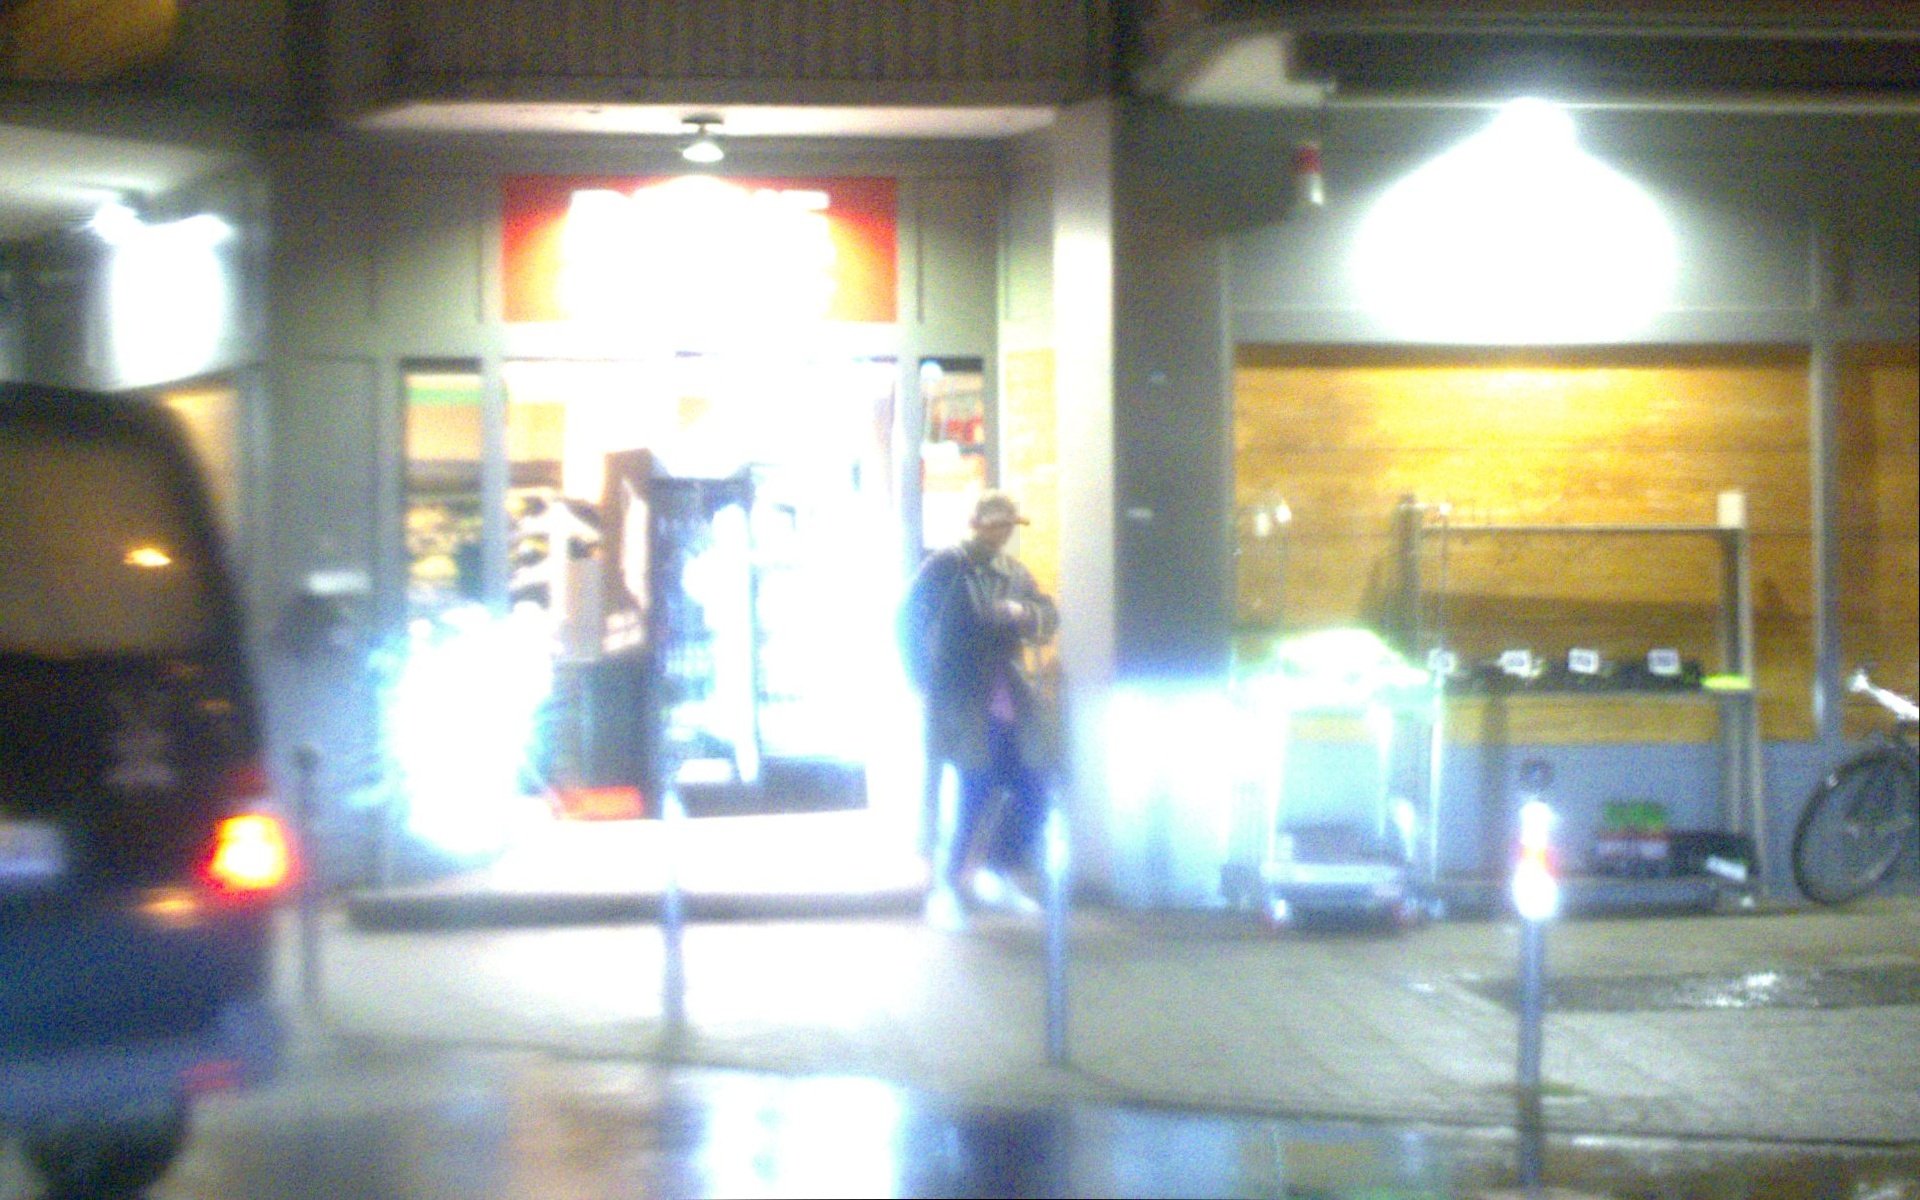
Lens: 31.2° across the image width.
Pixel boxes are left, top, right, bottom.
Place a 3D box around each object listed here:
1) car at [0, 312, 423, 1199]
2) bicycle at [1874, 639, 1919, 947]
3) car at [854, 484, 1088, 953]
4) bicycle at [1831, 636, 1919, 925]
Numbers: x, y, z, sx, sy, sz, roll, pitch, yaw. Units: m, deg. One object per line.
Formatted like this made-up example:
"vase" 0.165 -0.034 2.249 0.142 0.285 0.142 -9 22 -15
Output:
"car" -3.500 0.410 8.656 2.123 1.985 4.599 1 0 -41
"bicycle" 4.483 0.740 13.329 1.781 1.170 0.384 0 0 -2
"car" 0.028 0.460 13.958 0.874 1.835 0.964 0 1 -4
"bicycle" 4.475 0.756 14.221 1.642 1.170 0.384 1 -3 -2
